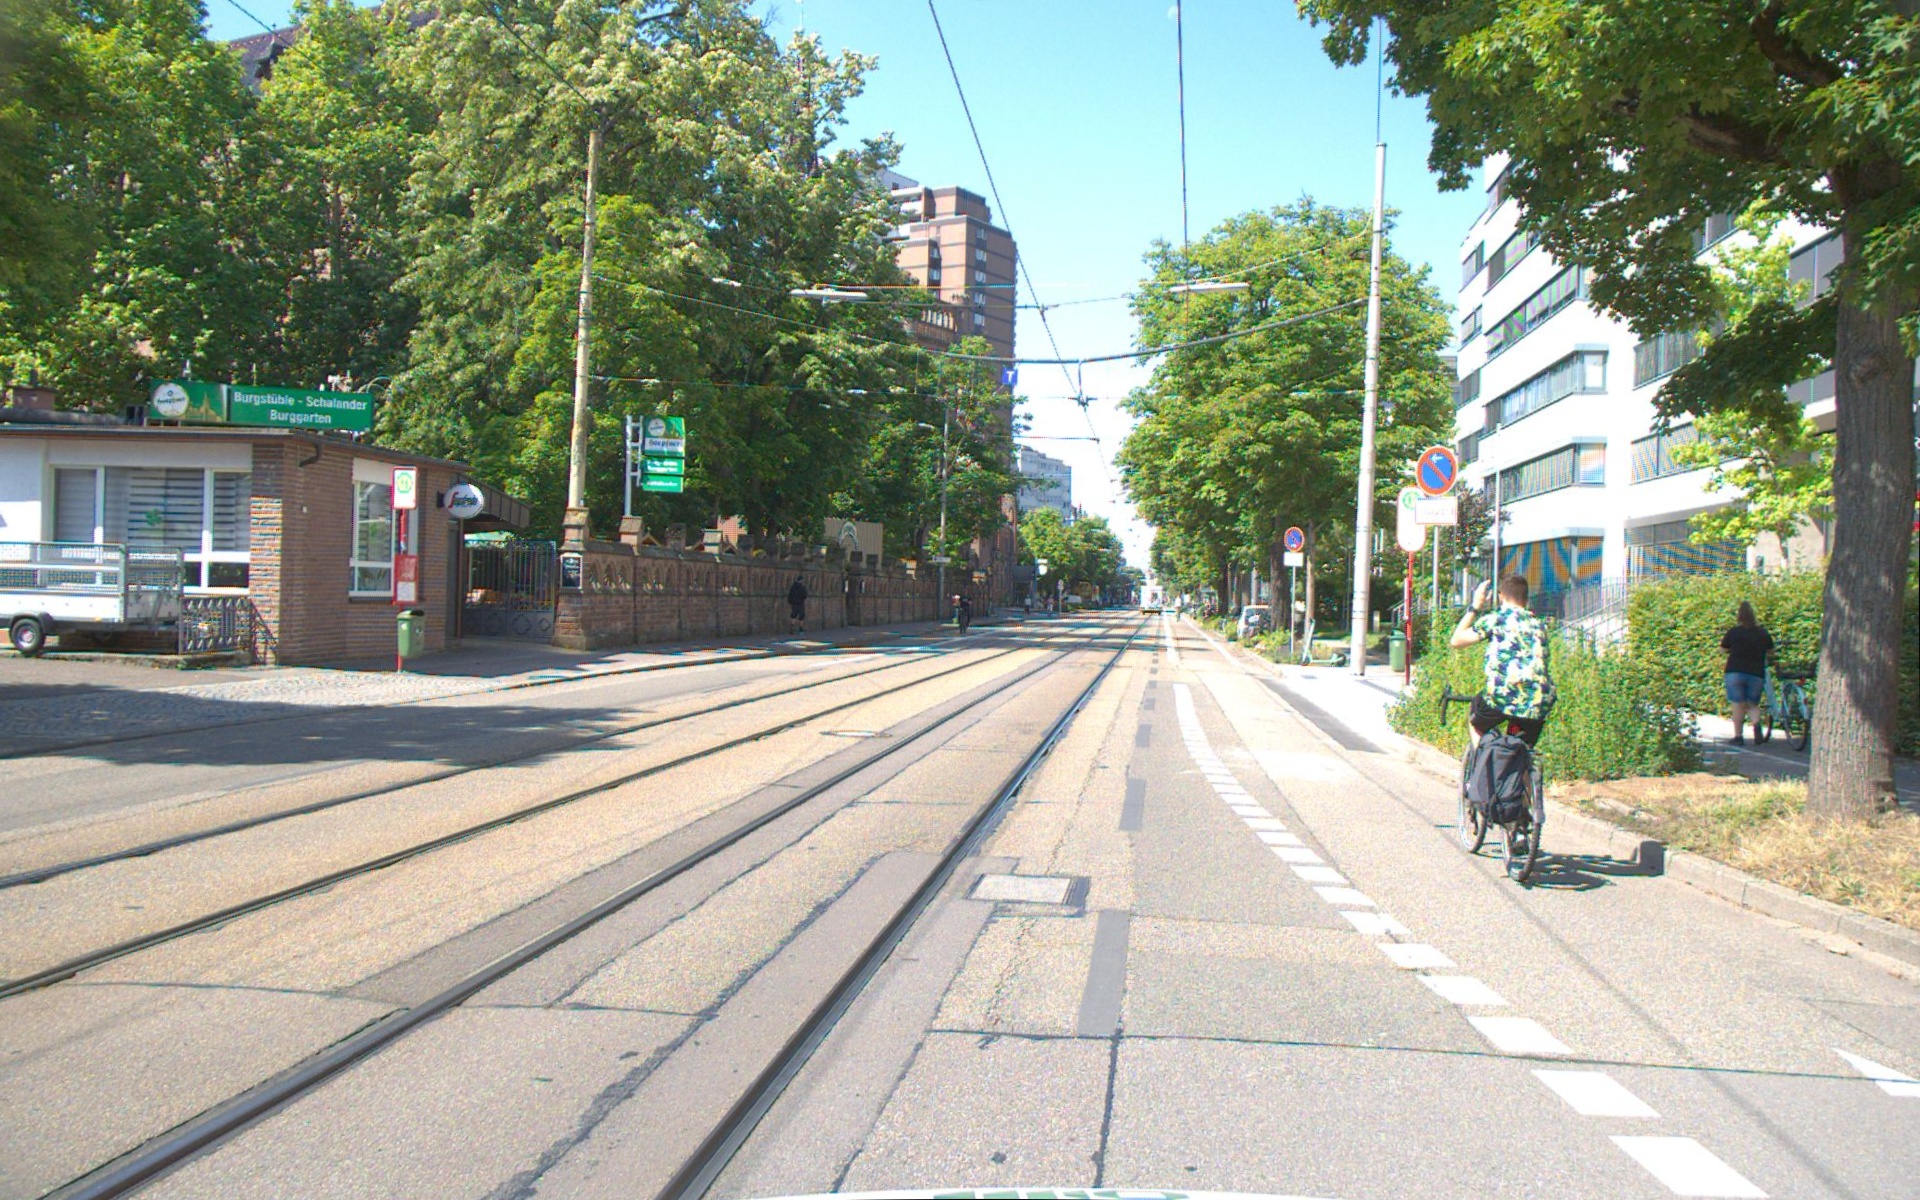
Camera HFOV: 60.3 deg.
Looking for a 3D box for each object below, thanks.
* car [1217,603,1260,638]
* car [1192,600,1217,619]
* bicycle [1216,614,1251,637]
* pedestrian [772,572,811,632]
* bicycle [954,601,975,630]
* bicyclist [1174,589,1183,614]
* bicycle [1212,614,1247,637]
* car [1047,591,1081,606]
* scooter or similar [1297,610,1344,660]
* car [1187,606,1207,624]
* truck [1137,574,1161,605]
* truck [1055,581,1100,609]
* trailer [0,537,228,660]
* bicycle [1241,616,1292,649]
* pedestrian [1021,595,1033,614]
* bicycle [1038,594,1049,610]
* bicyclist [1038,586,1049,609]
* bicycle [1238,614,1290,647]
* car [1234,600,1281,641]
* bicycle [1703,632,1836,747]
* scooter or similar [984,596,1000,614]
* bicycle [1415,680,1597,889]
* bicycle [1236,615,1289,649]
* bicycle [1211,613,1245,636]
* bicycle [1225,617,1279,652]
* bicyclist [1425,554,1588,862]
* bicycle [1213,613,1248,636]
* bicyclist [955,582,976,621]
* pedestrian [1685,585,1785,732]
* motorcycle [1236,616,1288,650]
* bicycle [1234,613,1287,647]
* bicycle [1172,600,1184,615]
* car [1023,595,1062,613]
[{"bbox_3d":[12.911,0.932,76.822,1.595,1.509,4.276,2,0,5],"label":"car"},{"bbox_3d":[18.527,0.709,125.361,1.595,1.378,3.904,1,0,5],"label":"car"},{"bbox_3d":[13.827,1.274,83.606,1.688,1.105,0.571,1,0,6],"label":"bicycle"},{"bbox_3d":[-5.316,0.060,52.273,0.955,1.847,1.186,1,0,7],"label":"pedestrian"},{"bbox_3d":[0.193,0.624,66.912,0.579,1.125,2.056,2,0,7],"label":"bicycle"},{"bbox_3d":[16.650,0.090,126.193,0.622,1.904,1.025,1,0,6],"label":"bicyclist"},{"bbox_3d":[13.431,1.259,82.407,1.688,1.105,0.629,1,0,6],"label":"bicycle"},{"bbox_3d":[13.642,-0.198,217.449,3.934,1.780,1.986,2,0,-24],"label":"car"},{"bbox_3d":[8.917,0.865,40.941,1.102,1.187,0.676,1,0,9],"label":"scooter or similar"},{"bbox_3d":[21.031,1.306,146.913,1.595,1.498,4.116,2,0,7],"label":"car"},{"bbox_3d":[19.906,-1.114,174.439,2.351,3.163,6.041,2,0,7],"label":"truck"},{"bbox_3d":[17.566,-0.715,245.894,2.759,3.927,9.984,1,0,28],"label":"truck"},{"bbox_3d":[-12.623,-0.043,23.983,3.204,1.631,1.725,2,0,8],"label":"trailer"},{"bbox_3d":[10.778,1.151,58.191,1.688,1.105,0.640,1,0,6],"label":"bicycle"},{"bbox_3d":[5.565,0.349,137.804,0.865,1.538,1.475,2,0,-2],"label":"pedestrian"},{"bbox_3d":[6.454,0.170,127.732,0.648,1.174,2.015,2,0,7],"label":"bicycle"},{"bbox_3d":[6.449,-0.201,127.722,0.710,1.728,1.147,1,0,6],"label":"bicyclist"},{"bbox_3d":[10.850,1.079,59.076,1.755,1.105,0.727,1,0,6],"label":"bicycle"},{"bbox_3d":[11.618,0.763,64.710,1.595,1.497,3.633,2,0,8],"label":"car"},{"bbox_3d":[8.928,0.957,18.332,0.622,1.137,2.068,2,0,6],"label":"bicycle"},{"bbox_3d":[2.116,0.312,109.682,1.177,1.149,0.328,2,-1,-45],"label":"scooter or similar"},{"bbox_3d":[3.269,1.054,10.089,0.595,1.001,2.166,2,0,6],"label":"bicycle"},{"bbox_3d":[10.904,1.152,59.602,1.809,1.151,0.681,1,0,6],"label":"bicycle"},{"bbox_3d":[13.804,1.255,85.322,1.688,1.105,0.615,1,0,6],"label":"bicycle"},{"bbox_3d":[9.635,1.136,54.680,1.688,1.105,0.790,1,0,6],"label":"bicycle"},{"bbox_3d":[3.297,0.621,10.057,0.701,1.754,0.988,2,0,6],"label":"bicyclist"},{"bbox_3d":[13.585,1.250,83.076,1.688,1.105,0.697,1,0,6],"label":"bicycle"},{"bbox_3d":[0.220,0.079,67.096,0.724,1.557,0.948,1,0,7],"label":"bicyclist"},{"bbox_3d":[8.611,0.638,18.409,0.672,1.590,0.989,0,0,2],"label":"pedestrian"},{"bbox_3d":[10.374,1.133,56.826,1.688,1.105,0.659,1,0,6],"label":"motorcycle"},{"bbox_3d":[11.054,1.083,60.921,1.863,1.190,0.819,1,0,6],"label":"bicycle"},{"bbox_3d":[16.602,0.569,126.076,0.837,1.129,2.141,2,0,6],"label":"bicycle"},{"bbox_3d":[9.193,0.446,184.565,3.945,1.842,1.871,2,0,-30],"label":"car"}]
